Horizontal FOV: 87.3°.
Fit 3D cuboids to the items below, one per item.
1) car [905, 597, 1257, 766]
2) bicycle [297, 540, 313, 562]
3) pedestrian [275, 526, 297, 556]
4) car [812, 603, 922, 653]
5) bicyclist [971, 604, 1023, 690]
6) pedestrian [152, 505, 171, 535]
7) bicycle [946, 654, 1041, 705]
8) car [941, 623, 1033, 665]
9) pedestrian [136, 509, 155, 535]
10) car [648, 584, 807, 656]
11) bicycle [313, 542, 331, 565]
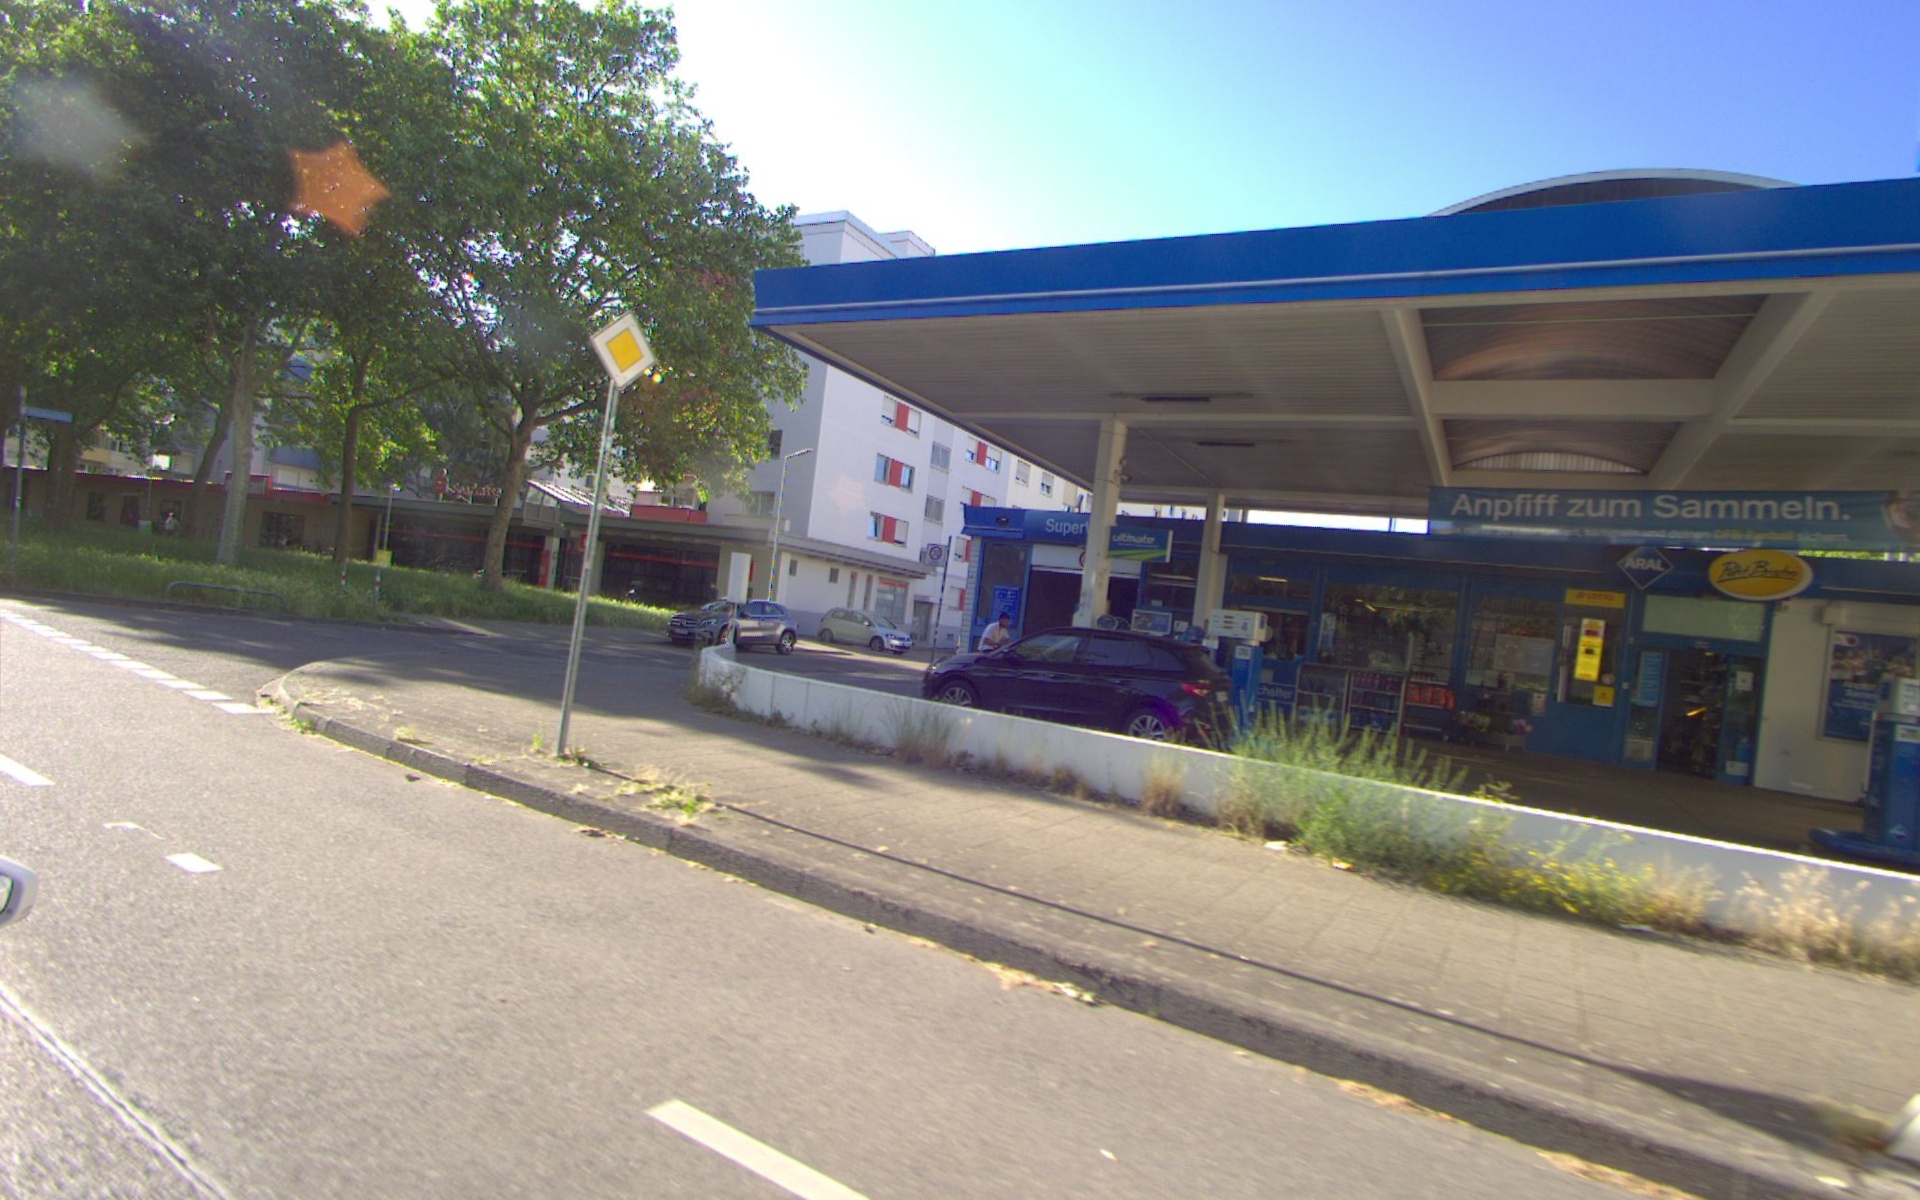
[{"bbox_3d":[1.500,0.965,12.739,3.936,1.480,1.724,7,-1,28],"label":"car"},{"bbox_3d":[-38.017,-2.837,58.415,0.593,1.193,1.836,8,-2,-31],"label":"bicycle"},{"bbox_3d":[-38.650,-3.395,57.685,0.703,1.604,0.672,8,0,26],"label":"pedestrian"},{"bbox_3d":[-3.820,1.146,41.196,4.044,1.521,1.873,6,-1,30],"label":"car"},{"bbox_3d":[0.702,0.885,19.065,0.618,1.539,0.539,7,0,30],"label":"bicyclist"},{"bbox_3d":[-49.406,-4.938,62.255,0.703,1.721,0.496,8,1,26],"label":"pedestrian"},{"bbox_3d":[0.626,1.501,19.065,1.679,0.723,0.540,7,-1,30],"label":"bicycle"},{"bbox_3d":[1.385,2.248,51.654,4.134,1.576,1.980,7,-1,32],"label":"car"},{"bbox_3d":[-49.712,-4.764,61.398,0.703,1.448,0.532,8,0,26],"label":"pedestrian"},{"bbox_3d":[-6.513,0.614,28.644,1.949,1.549,4.200,6,-2,29],"label":"car"},{"bbox_3d":[-36.648,-2.675,57.792,0.594,1.193,1.832,8,-2,-37],"label":"bicycle"}]
